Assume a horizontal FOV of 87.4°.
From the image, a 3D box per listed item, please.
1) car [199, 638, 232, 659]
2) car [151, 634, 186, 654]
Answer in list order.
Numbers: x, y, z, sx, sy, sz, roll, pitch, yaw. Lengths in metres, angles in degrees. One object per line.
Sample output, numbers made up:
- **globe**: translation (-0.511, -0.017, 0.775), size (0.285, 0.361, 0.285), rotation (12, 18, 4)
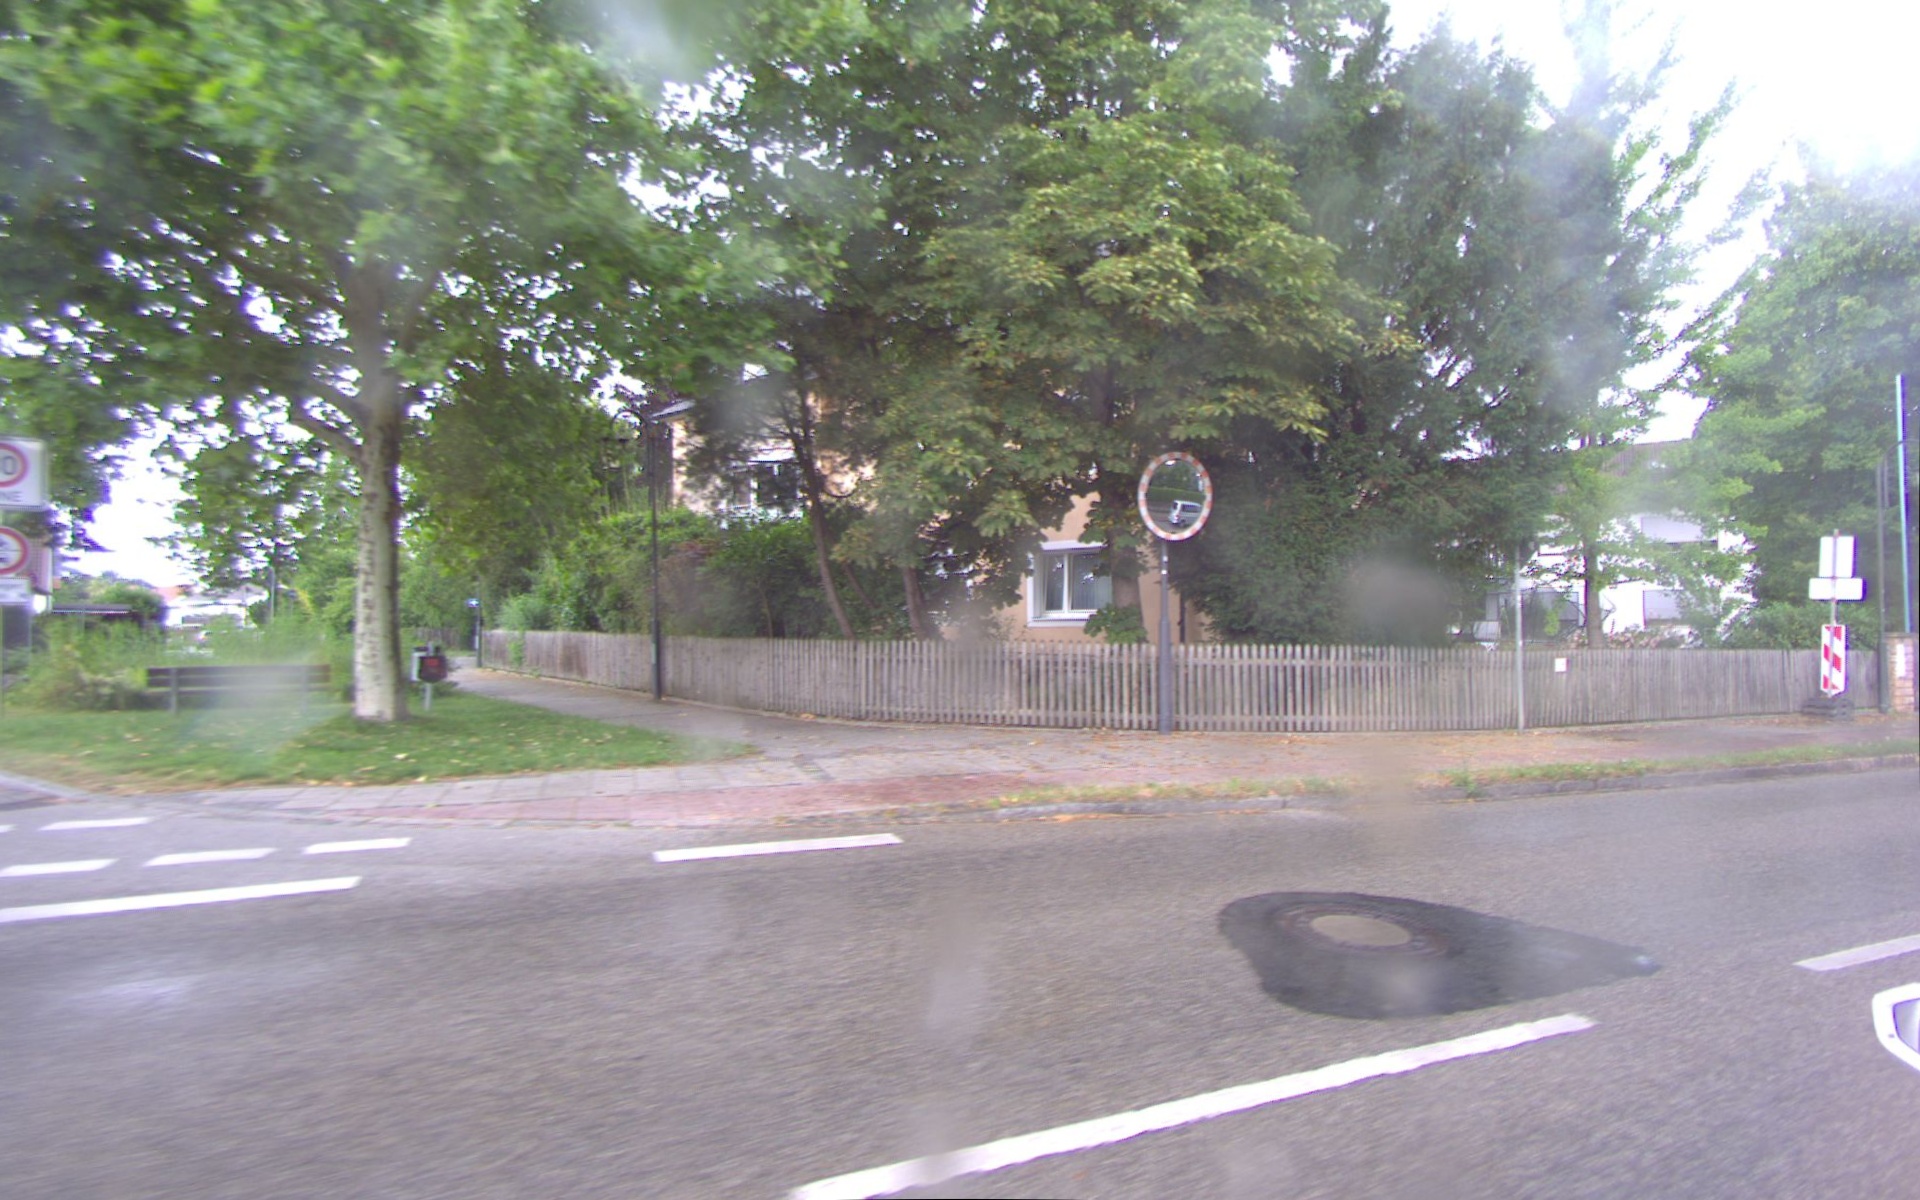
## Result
- **car**: translation (-60.443, 3.904, 81.509), size (1.983, 1.461, 3.955), rotation (2, -1, -38)
- **car**: translation (-66.278, 3.696, 84.112), size (1.986, 1.461, 3.950), rotation (2, -1, -42)
